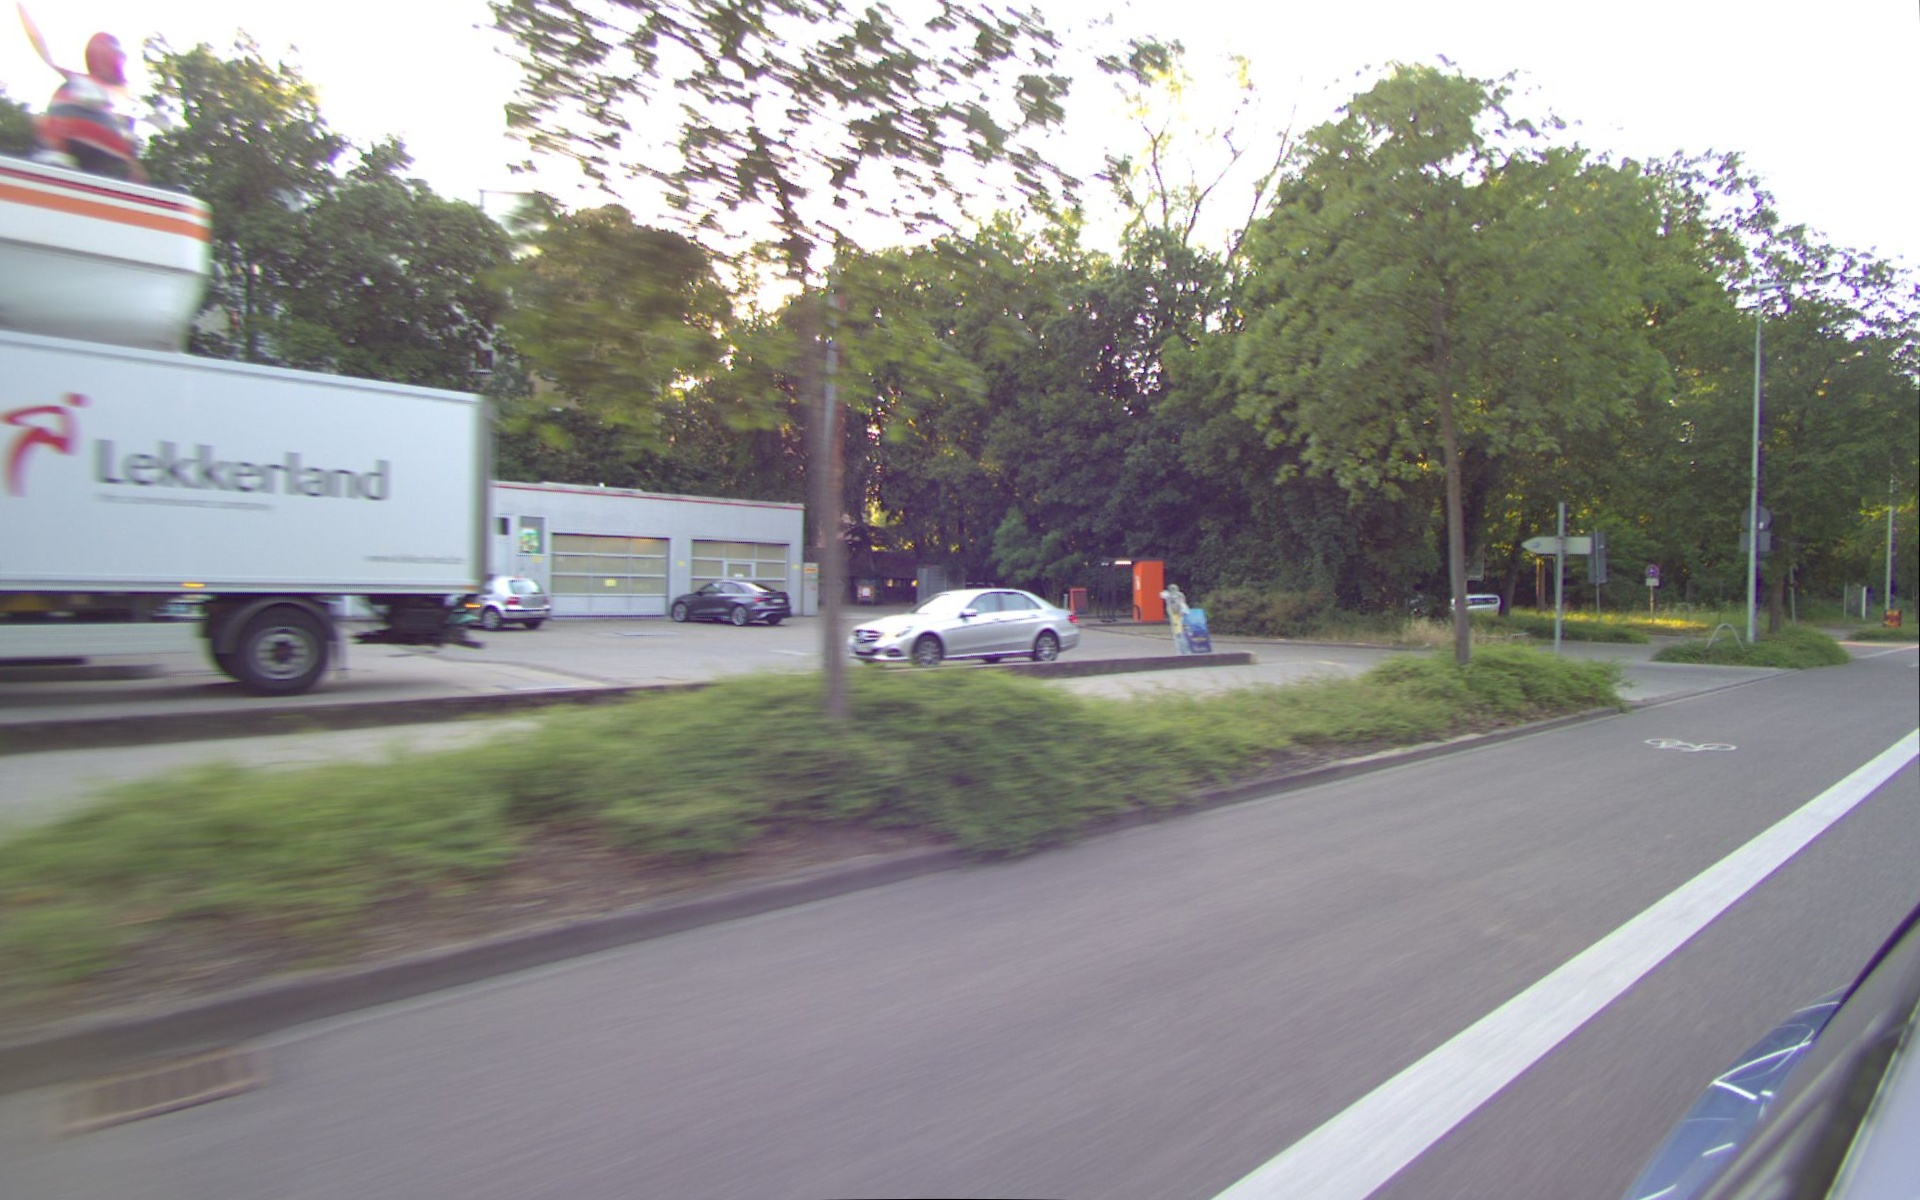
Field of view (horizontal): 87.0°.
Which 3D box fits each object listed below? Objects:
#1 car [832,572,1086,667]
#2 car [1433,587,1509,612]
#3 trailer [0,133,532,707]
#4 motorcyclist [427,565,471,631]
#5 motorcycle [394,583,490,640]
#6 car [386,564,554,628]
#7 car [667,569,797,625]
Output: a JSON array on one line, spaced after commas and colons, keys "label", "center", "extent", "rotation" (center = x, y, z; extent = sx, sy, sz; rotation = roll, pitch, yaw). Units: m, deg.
[{"label": "car", "center": [0.075, 0.324, 19.151], "extent": [4.730, 1.603, 1.774], "rotation": [0, 0, -37]}, {"label": "car", "center": [30.724, -0.018, 60.859], "extent": [3.916, 1.414, 1.544], "rotation": [1, 1, -11]}, {"label": "trailer", "center": [-9.482, -1.758, 11.646], "extent": [7.801, 5.530, 3.023], "rotation": [0, 1, -44]}, {"label": "motorcyclist", "center": [-11.464, -0.059, 22.710], "extent": [0.608, 1.453, 0.687], "rotation": [1, 2, 39]}, {"label": "motorcycle", "center": [-11.557, 0.236, 22.627], "extent": [0.621, 1.194, 1.837], "rotation": [2, 1, 39]}, {"label": "car", "center": [-13.302, -0.152, 27.506], "extent": [4.074, 1.540, 1.665], "rotation": [2, 2, 16]}, {"label": "car", "center": [-7.356, -0.145, 32.552], "extent": [4.099, 1.540, 1.655], "rotation": [3, 3, 31]}]
